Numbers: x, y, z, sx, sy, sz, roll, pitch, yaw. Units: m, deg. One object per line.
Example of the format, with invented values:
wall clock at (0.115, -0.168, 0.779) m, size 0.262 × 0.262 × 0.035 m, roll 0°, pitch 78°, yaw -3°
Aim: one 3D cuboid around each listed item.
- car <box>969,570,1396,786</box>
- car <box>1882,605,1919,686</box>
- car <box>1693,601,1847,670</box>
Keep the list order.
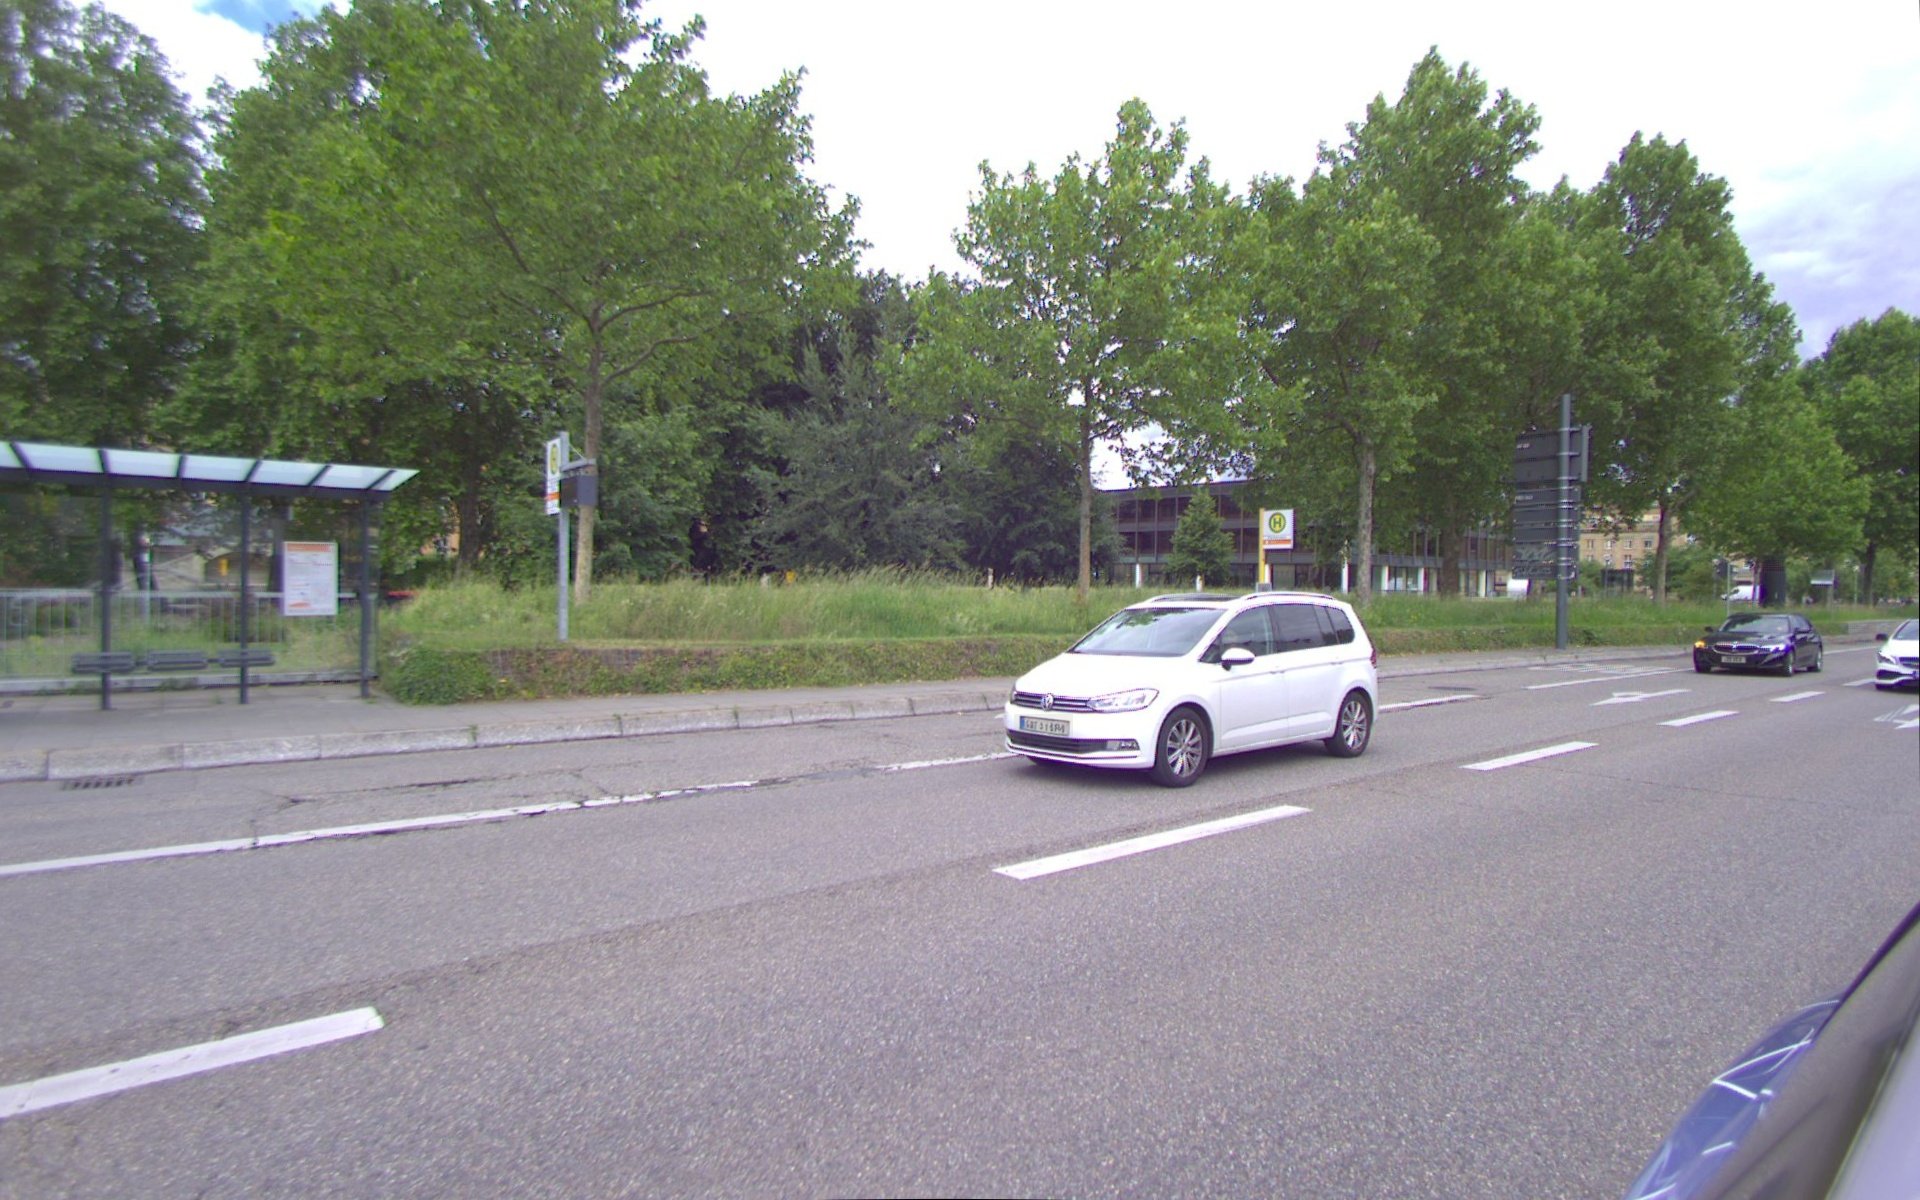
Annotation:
car at (2.324, 0.588, 9.955) m, size 4.229 × 1.660 × 1.997 m, roll 0°, pitch 0°, yaw -41°
car at (19.441, 0.851, 19.550) m, size 4.446 × 1.437 × 1.798 m, roll 0°, pitch 1°, yaw -39°
car at (19.428, 0.780, 24.206) m, size 4.445 × 1.478 × 1.936 m, roll -1°, pitch 0°, yaw -39°
